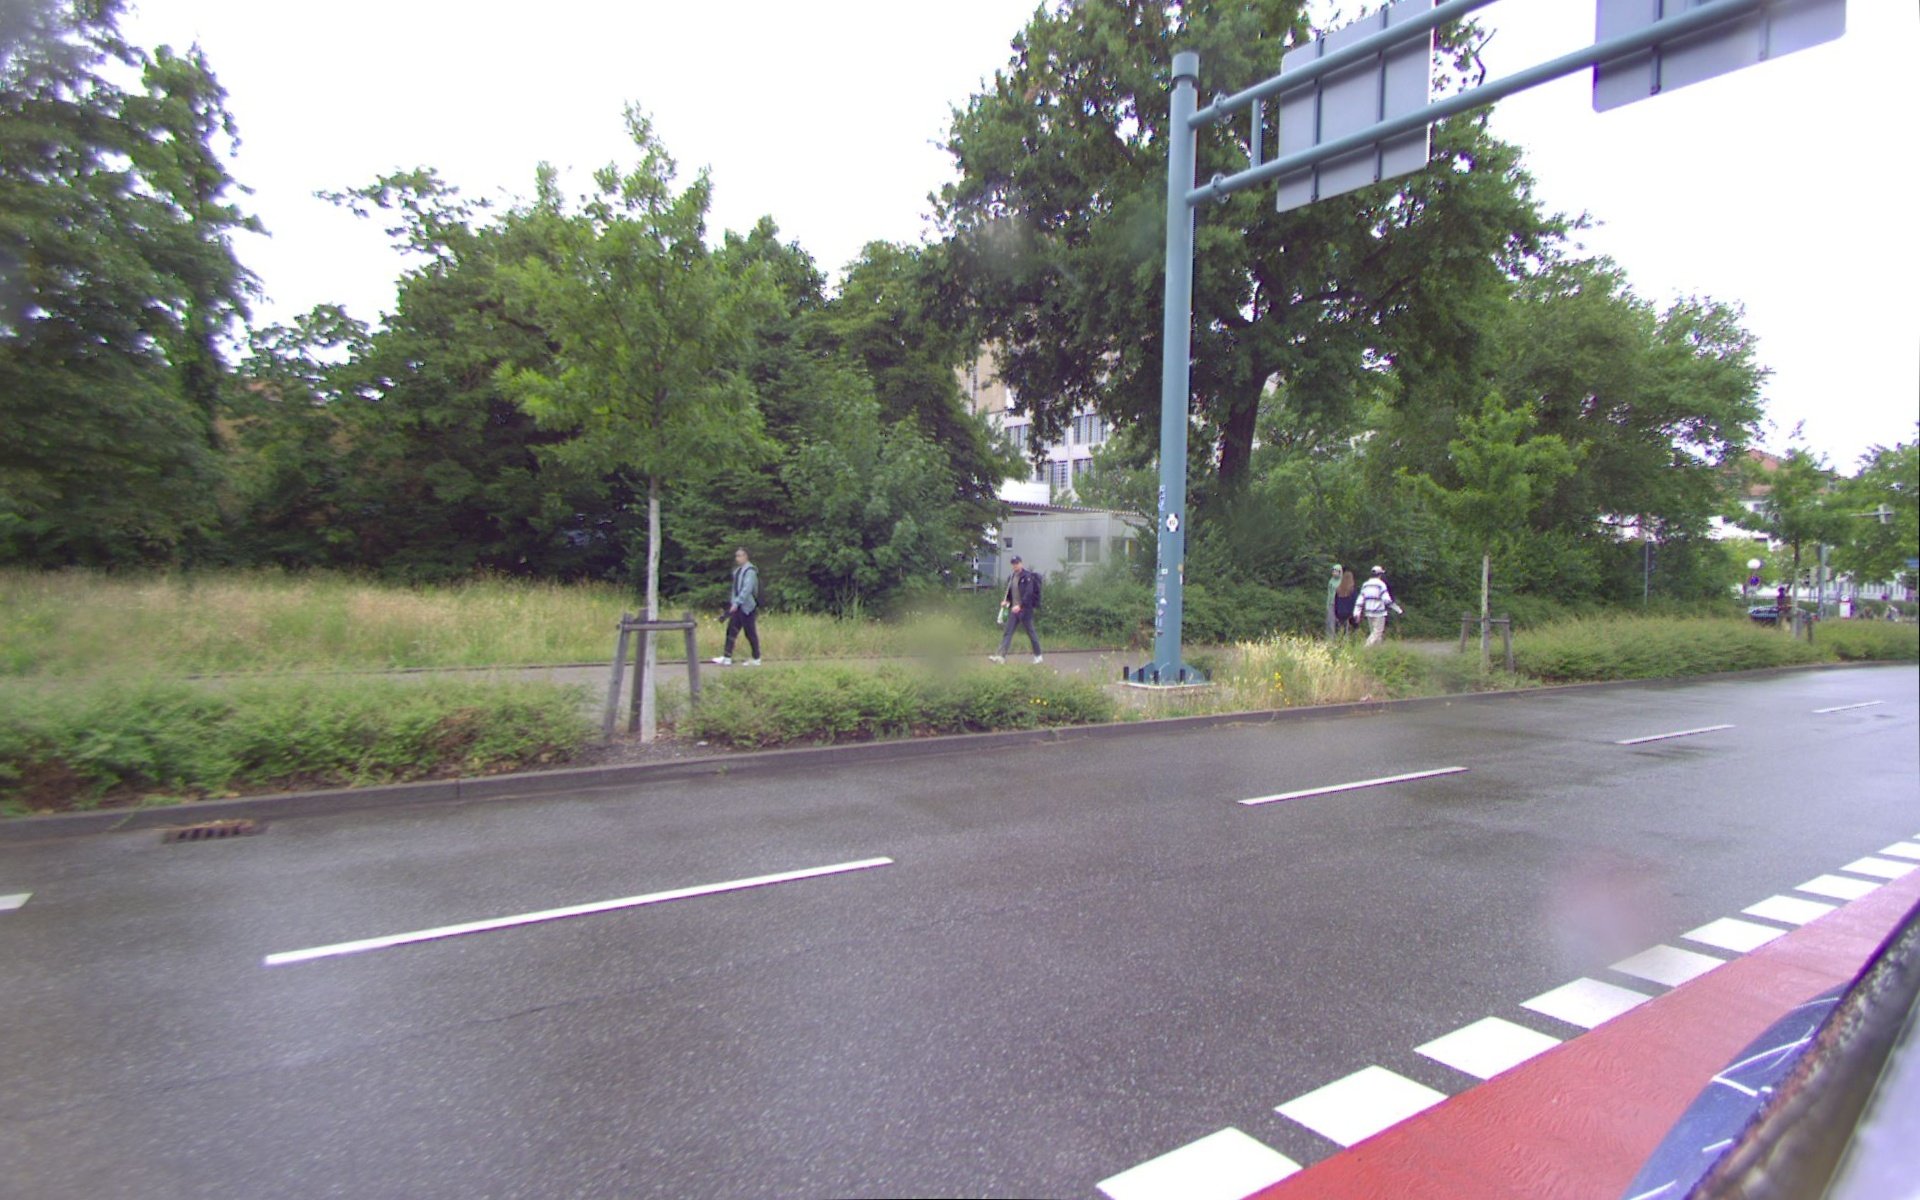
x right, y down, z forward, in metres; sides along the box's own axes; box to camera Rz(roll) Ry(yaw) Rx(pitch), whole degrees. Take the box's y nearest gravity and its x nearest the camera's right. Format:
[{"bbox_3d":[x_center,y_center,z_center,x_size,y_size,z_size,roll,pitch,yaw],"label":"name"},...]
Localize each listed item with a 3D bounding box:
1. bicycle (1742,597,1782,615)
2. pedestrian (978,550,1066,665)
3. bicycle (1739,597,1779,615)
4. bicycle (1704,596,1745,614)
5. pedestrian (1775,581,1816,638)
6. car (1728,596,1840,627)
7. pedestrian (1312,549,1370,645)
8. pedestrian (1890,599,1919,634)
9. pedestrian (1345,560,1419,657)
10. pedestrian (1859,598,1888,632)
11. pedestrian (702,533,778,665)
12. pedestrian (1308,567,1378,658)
[{"bbox_3d":[60.188,0.416,75.957,2.279,1.237,0.589,3,1,43],"label":"bicycle"},{"bbox_3d":[0.989,0.101,16.225,1.024,1.769,0.938,1,1,-28],"label":"pedestrian"},{"bbox_3d":[59.575,0.412,75.454,2.279,1.237,0.589,3,1,43],"label":"bicycle"},{"bbox_3d":[55.512,0.350,73.477,2.279,1.237,0.589,3,1,43],"label":"bicycle"},{"bbox_3d":[27.905,0.311,33.810,0.833,1.882,0.733,1,1,-28],"label":"pedestrian"},{"bbox_3d":[43.810,0.573,53.890,1.741,1.353,4.388,-3,3,-38],"label":"car"},{"bbox_3d":[8.288,-0.071,22.005,0.812,2.039,0.794,1,1,-28],"label":"pedestrian"},{"bbox_3d":[45.880,0.779,49.158,0.871,1.627,0.853,2,1,33],"label":"pedestrian"},{"bbox_3d":[7.933,0.159,19.053,0.812,1.743,0.937,4,-2,-30],"label":"pedestrian"},{"bbox_3d":[45.150,0.731,50.029,0.870,1.627,0.854,2,1,30],"label":"pedestrian"},{"bbox_3d":[-3.181,-0.024,14.606,0.812,1.819,0.938,1,1,-28],"label":"pedestrian"},{"bbox_3d":[7.564,0.247,19.991,0.812,1.726,0.937,4,-2,-30],"label":"pedestrian"}]
